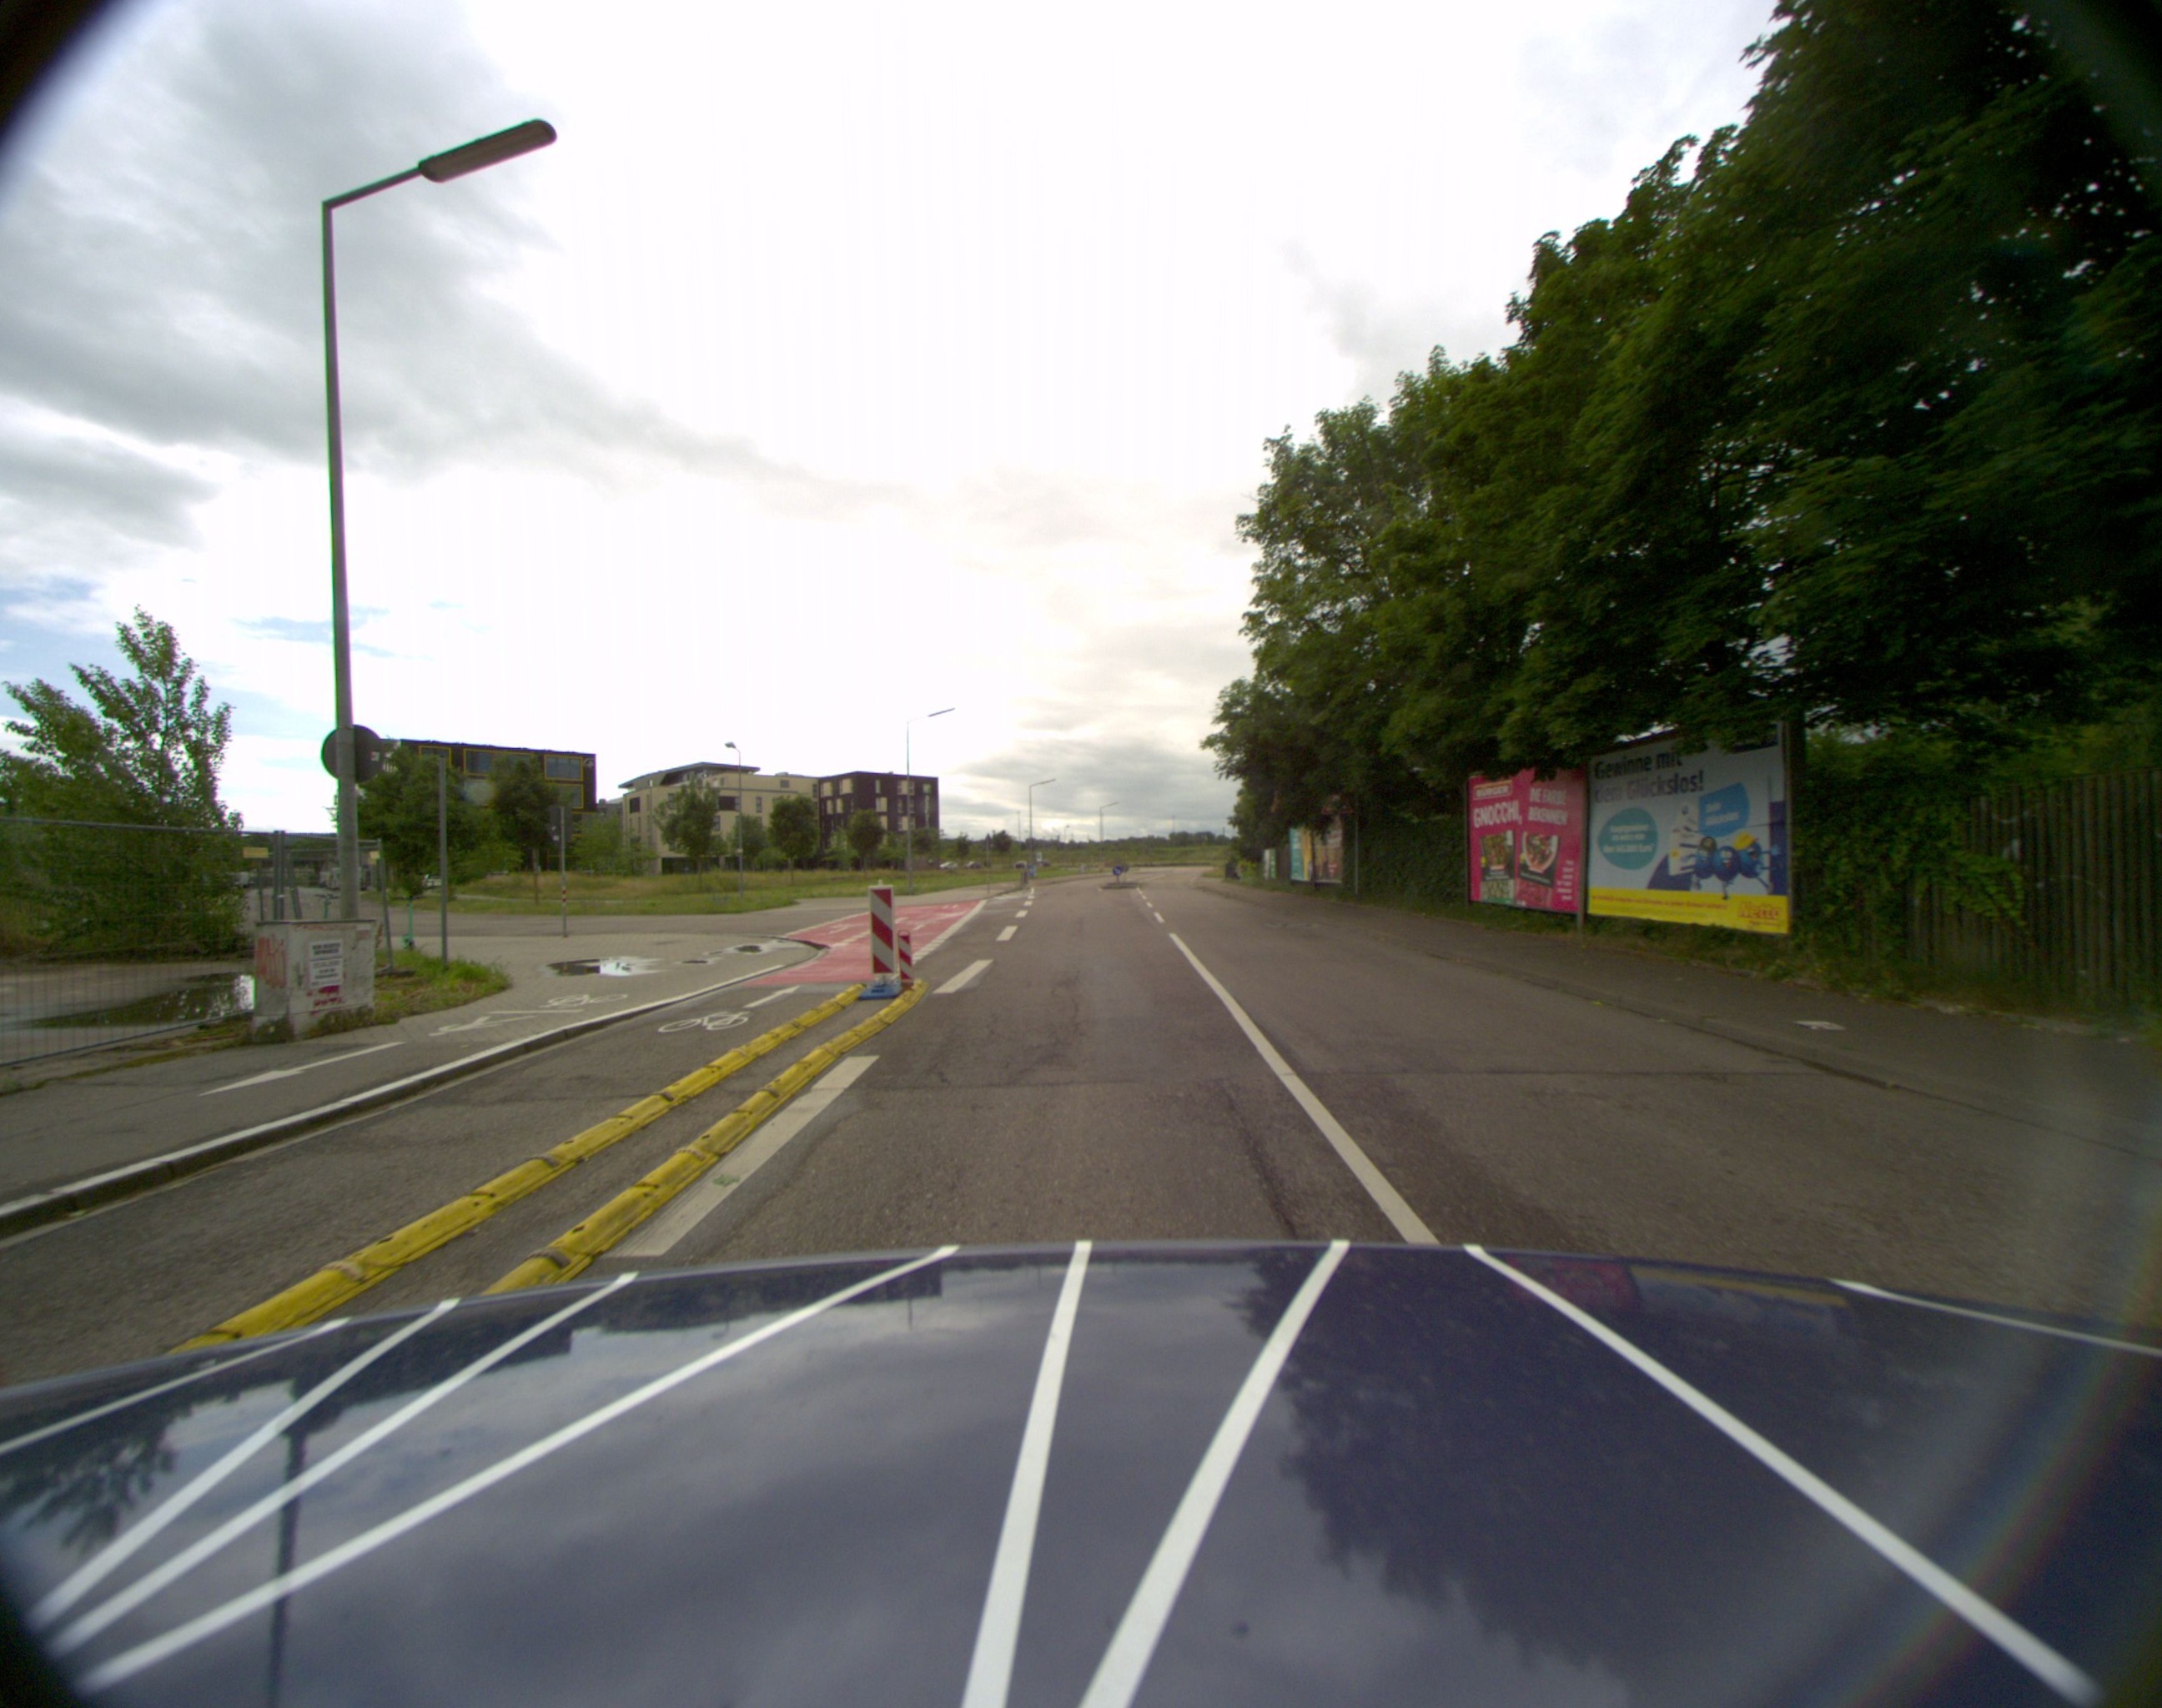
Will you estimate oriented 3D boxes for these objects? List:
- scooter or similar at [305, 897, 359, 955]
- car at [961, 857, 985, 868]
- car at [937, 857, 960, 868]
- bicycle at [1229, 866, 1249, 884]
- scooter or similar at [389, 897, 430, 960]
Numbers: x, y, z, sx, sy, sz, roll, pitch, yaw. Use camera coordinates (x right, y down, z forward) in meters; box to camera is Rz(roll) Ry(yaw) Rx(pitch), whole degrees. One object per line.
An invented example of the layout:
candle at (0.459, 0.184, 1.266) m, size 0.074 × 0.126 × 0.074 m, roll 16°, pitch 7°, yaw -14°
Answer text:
scooter or similar at (-16.111, 1.525, 16.333) m, size 1.171 × 1.178 × 0.447 m, roll -1°, pitch 0°, yaw 26°
car at (-20.054, 1.564, 141.419) m, size 1.994 × 2.002 × 4.008 m, roll -1°, pitch 0°, yaw 43°
car at (-25.554, 1.623, 146.438) m, size 1.994 × 2.002 × 4.008 m, roll -1°, pitch 0°, yaw 43°
bicycle at (9.364, 1.229, 44.988) m, size 0.583 × 0.992 × 1.773 m, roll -4°, pitch 0°, yaw 28°
scooter or similar at (-13.551, 1.480, 15.319) m, size 1.323 × 1.178 × 0.447 m, roll -1°, pitch 0°, yaw 42°
